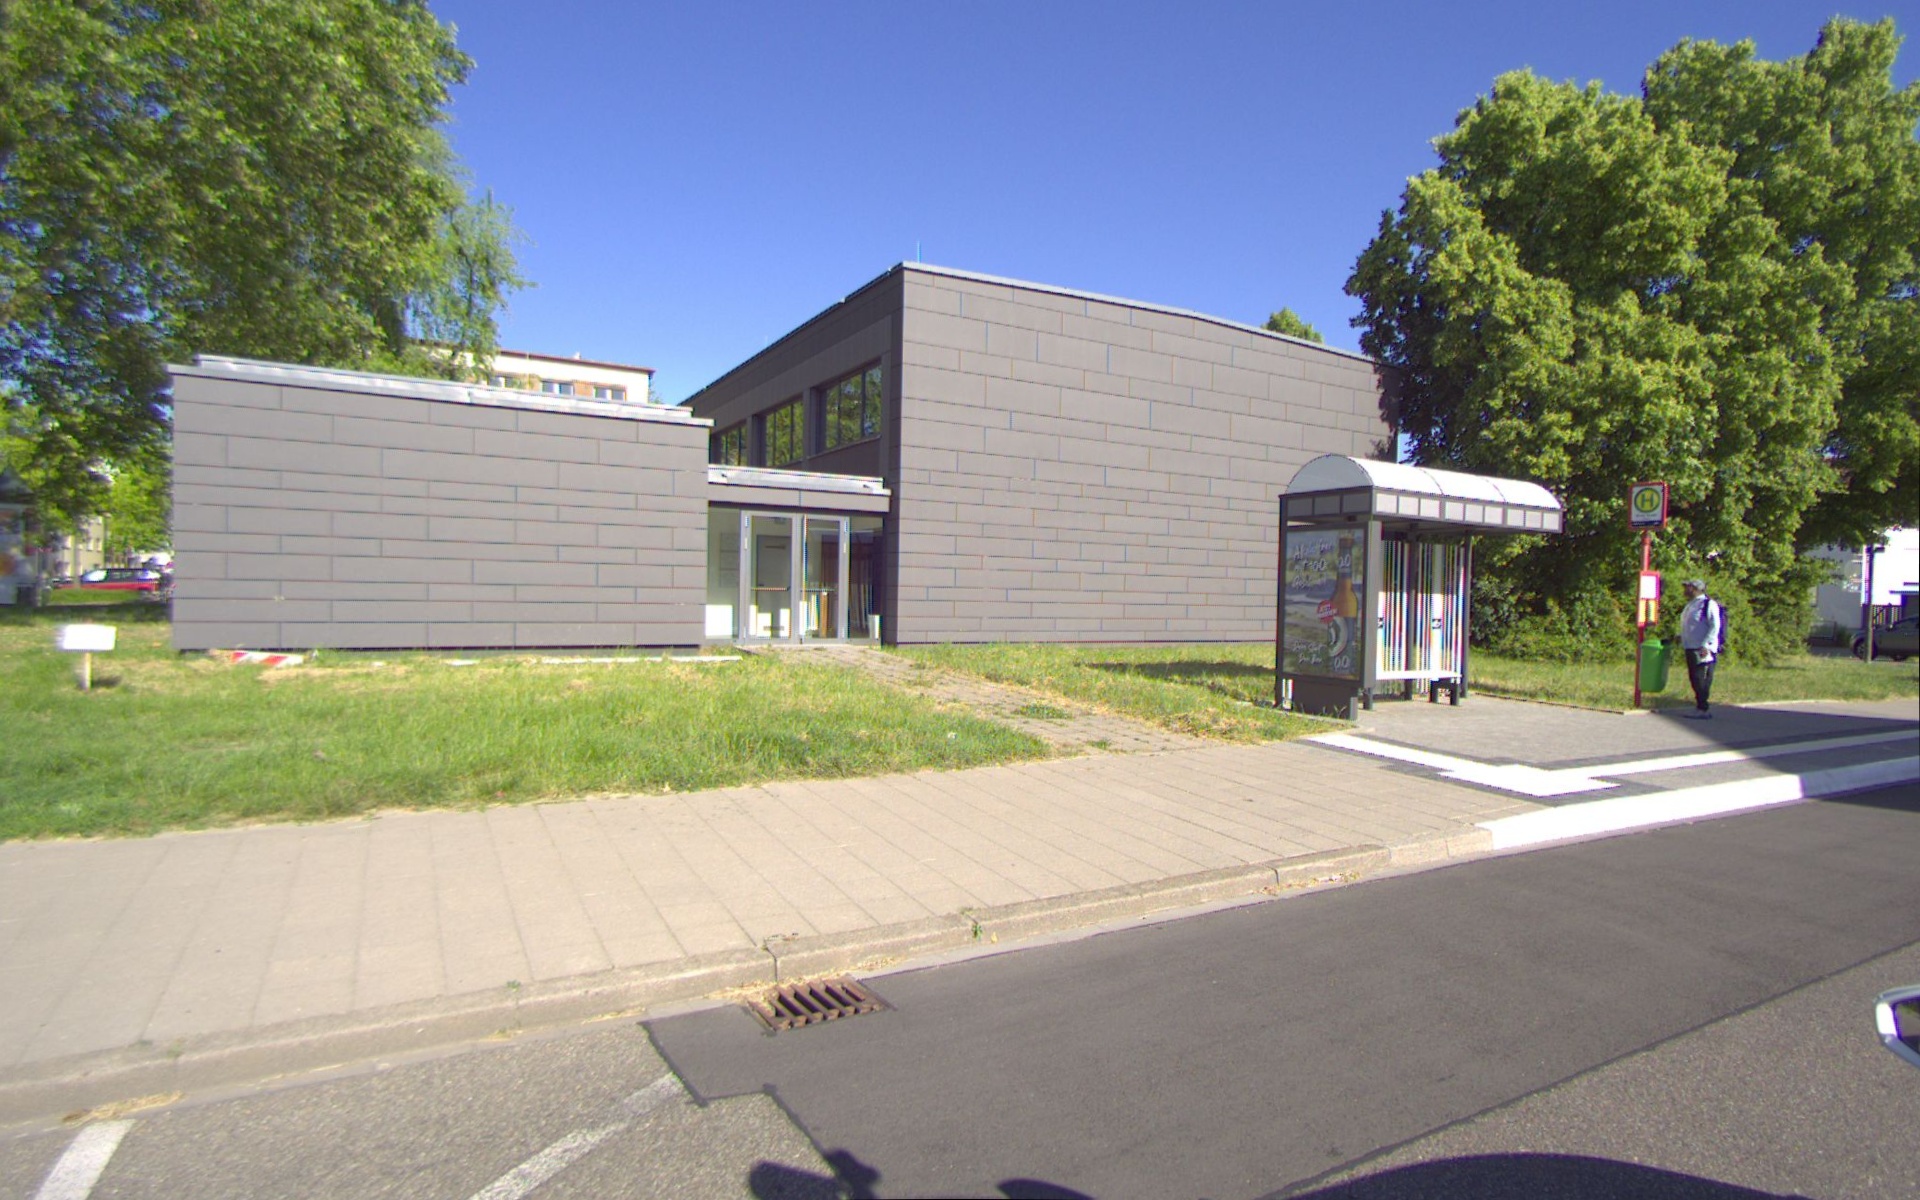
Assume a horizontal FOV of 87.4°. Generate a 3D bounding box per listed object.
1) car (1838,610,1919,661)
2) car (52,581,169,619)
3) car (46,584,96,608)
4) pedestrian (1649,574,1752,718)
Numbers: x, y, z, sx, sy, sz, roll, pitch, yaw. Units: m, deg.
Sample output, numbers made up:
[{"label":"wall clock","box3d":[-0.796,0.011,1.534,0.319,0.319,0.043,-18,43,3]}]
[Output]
[{"label":"car","box3d":[34.489,1.281,35.991,1.913,1.748,4.222,1,1,-14]},{"label":"car","box3d":[-47.169,-0.007,55.920,4.623,2.040,1.985,1,1,-29]},{"label":"car","box3d":[-67.804,-0.336,76.673,1.975,1.773,3.971,0,0,-28]},{"label":"pedestrian","box3d":[9.766,0.586,13.271,0.755,1.827,0.718,1,3,5]}]
